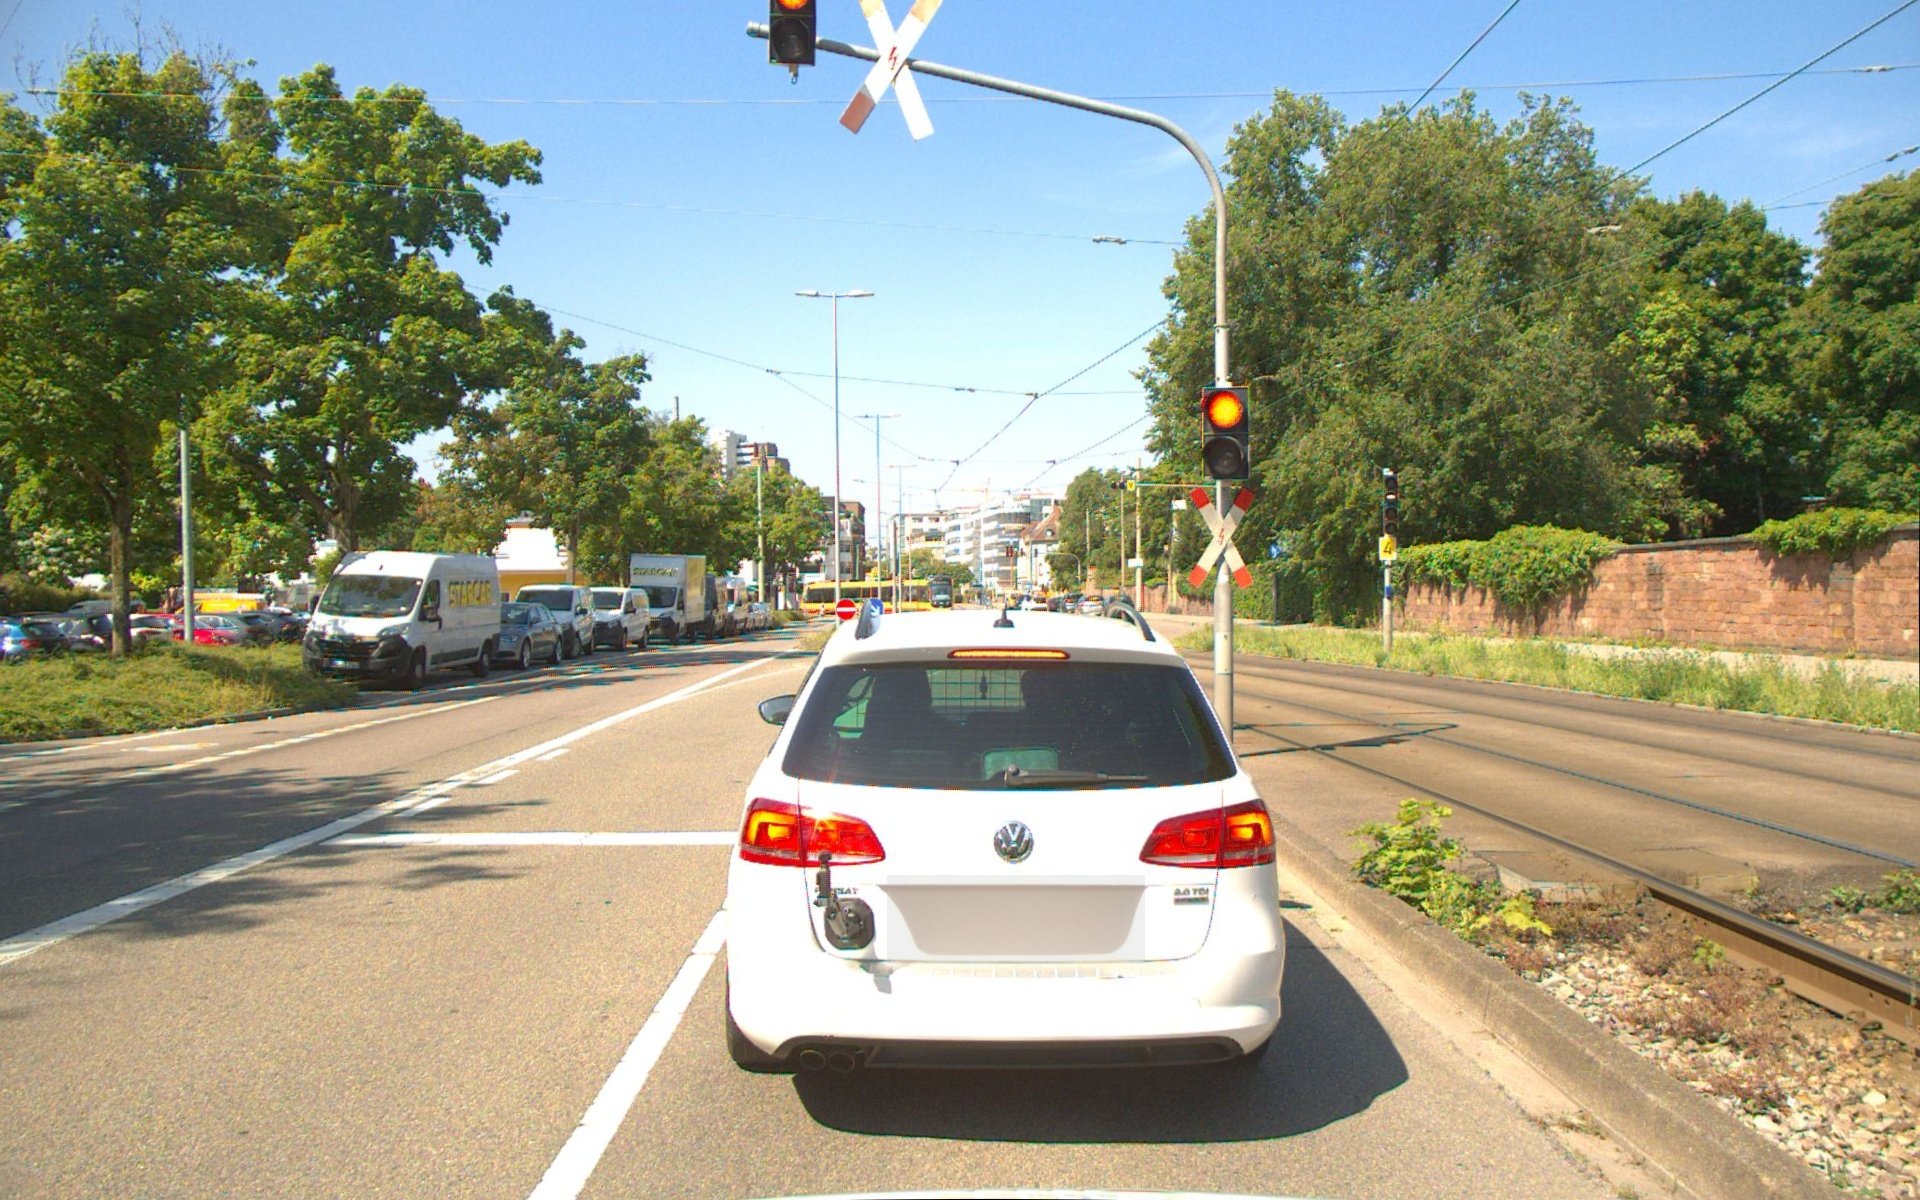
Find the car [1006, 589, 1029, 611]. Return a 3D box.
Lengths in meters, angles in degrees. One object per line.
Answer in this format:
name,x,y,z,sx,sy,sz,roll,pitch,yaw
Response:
car,6.925,-0.028,199.899,2.413,2.542,5.908,1,-1,-1

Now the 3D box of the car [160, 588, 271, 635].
car,-34.370,0.540,76.456,4.175,2.049,1.997,1,-1,-7

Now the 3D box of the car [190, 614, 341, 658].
car,-21.583,1.115,51.481,3.904,1.246,1.772,-1,0,2

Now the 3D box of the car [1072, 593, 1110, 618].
car,8.065,0.335,102.046,1.824,1.441,4.323,1,0,-2

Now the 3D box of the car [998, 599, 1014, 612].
car,5.950,0.781,214.690,1.953,1.624,3.999,1,-1,0

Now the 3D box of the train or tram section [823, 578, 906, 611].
train or tram section,-9.926,-0.606,170.025,2.289,3.310,10.850,2,-1,-42

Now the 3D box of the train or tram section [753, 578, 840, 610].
train or tram section,-17.550,-0.698,177.158,10.597,3.310,2.298,1,-1,38

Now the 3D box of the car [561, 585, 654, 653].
car,-10.954,0.546,51.792,1.806,1.995,5.133,-1,0,0

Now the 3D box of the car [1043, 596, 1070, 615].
car,7.590,0.454,130.663,1.711,1.432,3.911,1,0,-3

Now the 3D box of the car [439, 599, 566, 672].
car,-10.565,0.779,38.454,1.806,1.543,4.196,-1,0,-1

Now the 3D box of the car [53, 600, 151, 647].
car,-36.993,0.992,71.343,3.354,1.909,1.552,-1,0,-3

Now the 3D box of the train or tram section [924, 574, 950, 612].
train or tram section,-2.057,-0.602,151.862,2.254,3.309,11.272,1,-1,0

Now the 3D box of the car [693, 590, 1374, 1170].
car,0.139,0.716,6.212,1.732,1.471,3.912,1,0,-2

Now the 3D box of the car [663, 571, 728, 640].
car,-10.829,0.211,68.017,1.806,2.715,5.003,-1,0,0

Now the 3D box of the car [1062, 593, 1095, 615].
car,8.319,0.270,116.434,1.824,1.539,3.911,1,0,-2

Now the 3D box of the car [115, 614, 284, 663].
car,-21.361,1.075,46.565,3.904,1.246,1.772,-1,0,2

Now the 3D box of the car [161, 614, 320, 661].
car,-21.350,1.104,49.161,3.904,1.246,1.772,-1,0,2

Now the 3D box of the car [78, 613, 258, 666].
car,-21.008,1.039,43.976,3.904,1.286,1.772,-1,0,2

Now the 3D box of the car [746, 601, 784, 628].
car,-11.357,0.831,96.405,1.744,1.458,4.037,-1,0,-1

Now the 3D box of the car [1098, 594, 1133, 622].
car,8.339,0.420,88.840,1.709,1.412,3.914,1,0,3

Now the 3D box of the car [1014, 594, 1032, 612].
car,6.844,0.331,179.782,1.657,1.844,3.453,1,-1,-1

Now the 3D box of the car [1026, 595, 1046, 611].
car,6.870,0.298,150.348,1.549,1.370,3.453,1,-1,-1

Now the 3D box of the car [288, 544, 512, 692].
car,-10.748,0.294,32.365,2.016,2.544,6.309,2,0,2

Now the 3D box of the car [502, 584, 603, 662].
car,-11.068,0.580,45.229,1.807,1.971,5.189,-1,0,-5

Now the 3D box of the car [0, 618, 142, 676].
car,-21.626,1.115,38.868,3.904,1.246,1.772,-1,0,2

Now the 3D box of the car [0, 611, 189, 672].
car,-21.758,1.028,41.547,3.904,1.373,1.772,-1,0,2

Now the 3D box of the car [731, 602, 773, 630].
car,-11.408,0.871,90.903,1.806,1.458,4.037,-1,0,-1

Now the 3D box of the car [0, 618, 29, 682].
car,-20.971,1.049,32.834,3.907,1.246,1.770,-1,0,-3

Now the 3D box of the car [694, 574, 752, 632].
car,-10.829,0.112,75.839,1.806,2.538,5.856,-1,0,0

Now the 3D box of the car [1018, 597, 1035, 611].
car,6.697,0.432,166.556,1.549,1.370,3.453,1,-1,-1

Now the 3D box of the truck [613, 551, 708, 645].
truck,-10.797,-0.080,60.151,2.309,3.177,6.889,-1,0,-2

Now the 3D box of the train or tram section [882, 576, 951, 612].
train or tram section,-4.331,-0.565,161.571,2.274,3.309,10.712,1,-1,-27

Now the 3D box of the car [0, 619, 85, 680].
car,-21.295,1.084,35.647,3.904,1.246,1.772,-1,0,2
